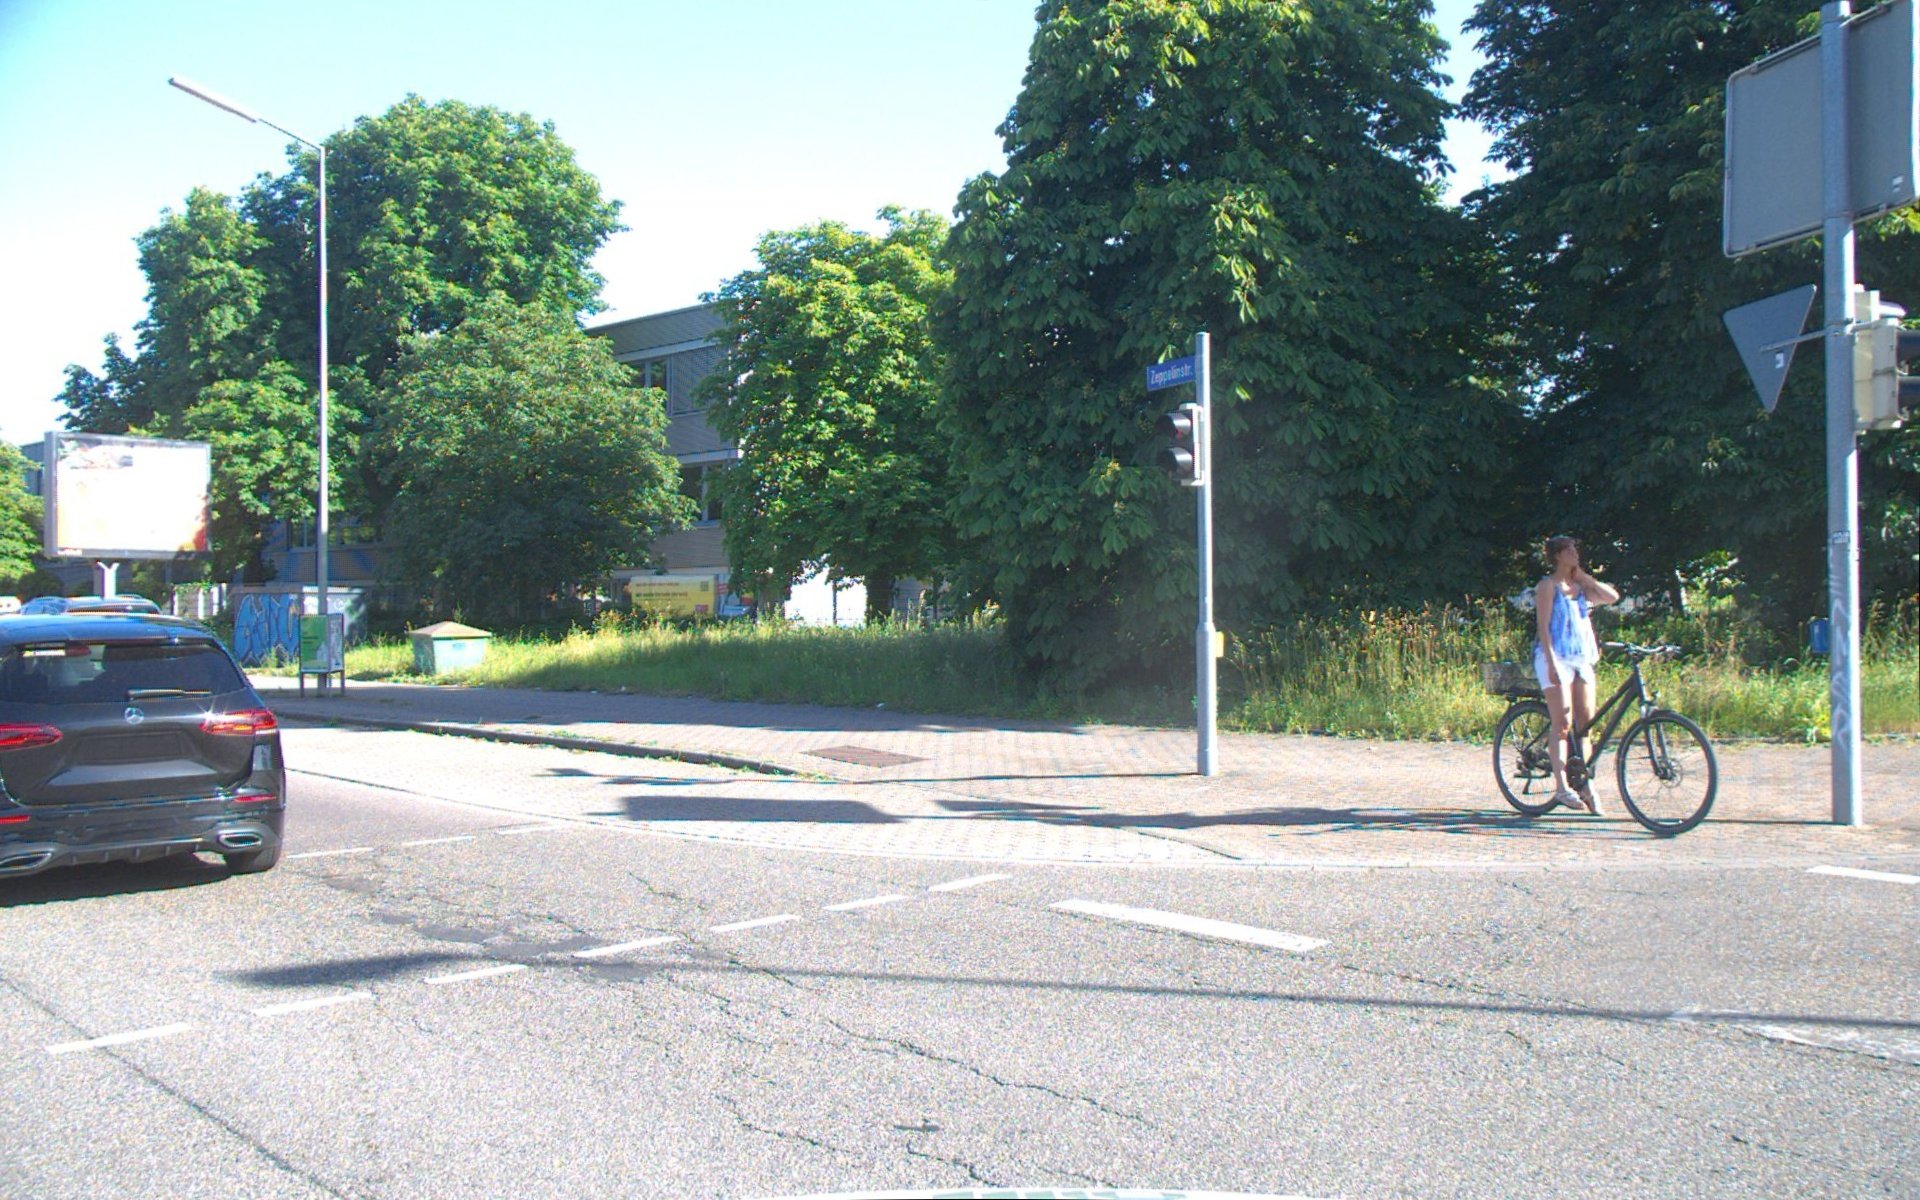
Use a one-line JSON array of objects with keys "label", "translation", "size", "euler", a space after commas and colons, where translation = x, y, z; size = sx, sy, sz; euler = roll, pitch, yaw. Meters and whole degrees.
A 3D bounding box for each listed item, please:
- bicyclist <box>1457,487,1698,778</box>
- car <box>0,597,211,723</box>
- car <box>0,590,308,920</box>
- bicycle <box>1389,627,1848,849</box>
[{"label": "bicyclist", "translation": [3.903, 0.195, 10.521], "size": [0.877, 1.722, 1.182], "euler": [1, 0, -23]}, {"label": "car", "translation": [-13.664, 0.893, 26.187], "size": [1.865, 1.752, 4.537], "euler": [-3, 1, -44]}, {"label": "car", "translation": [-5.476, 0.781, 10.075], "size": [1.758, 1.620, 3.933], "euler": [0, -1, -38]}, {"label": "bicycle", "translation": [3.965, 0.762, 10.366], "size": [0.888, 1.145, 2.932], "euler": [1, 0, -23]}]
